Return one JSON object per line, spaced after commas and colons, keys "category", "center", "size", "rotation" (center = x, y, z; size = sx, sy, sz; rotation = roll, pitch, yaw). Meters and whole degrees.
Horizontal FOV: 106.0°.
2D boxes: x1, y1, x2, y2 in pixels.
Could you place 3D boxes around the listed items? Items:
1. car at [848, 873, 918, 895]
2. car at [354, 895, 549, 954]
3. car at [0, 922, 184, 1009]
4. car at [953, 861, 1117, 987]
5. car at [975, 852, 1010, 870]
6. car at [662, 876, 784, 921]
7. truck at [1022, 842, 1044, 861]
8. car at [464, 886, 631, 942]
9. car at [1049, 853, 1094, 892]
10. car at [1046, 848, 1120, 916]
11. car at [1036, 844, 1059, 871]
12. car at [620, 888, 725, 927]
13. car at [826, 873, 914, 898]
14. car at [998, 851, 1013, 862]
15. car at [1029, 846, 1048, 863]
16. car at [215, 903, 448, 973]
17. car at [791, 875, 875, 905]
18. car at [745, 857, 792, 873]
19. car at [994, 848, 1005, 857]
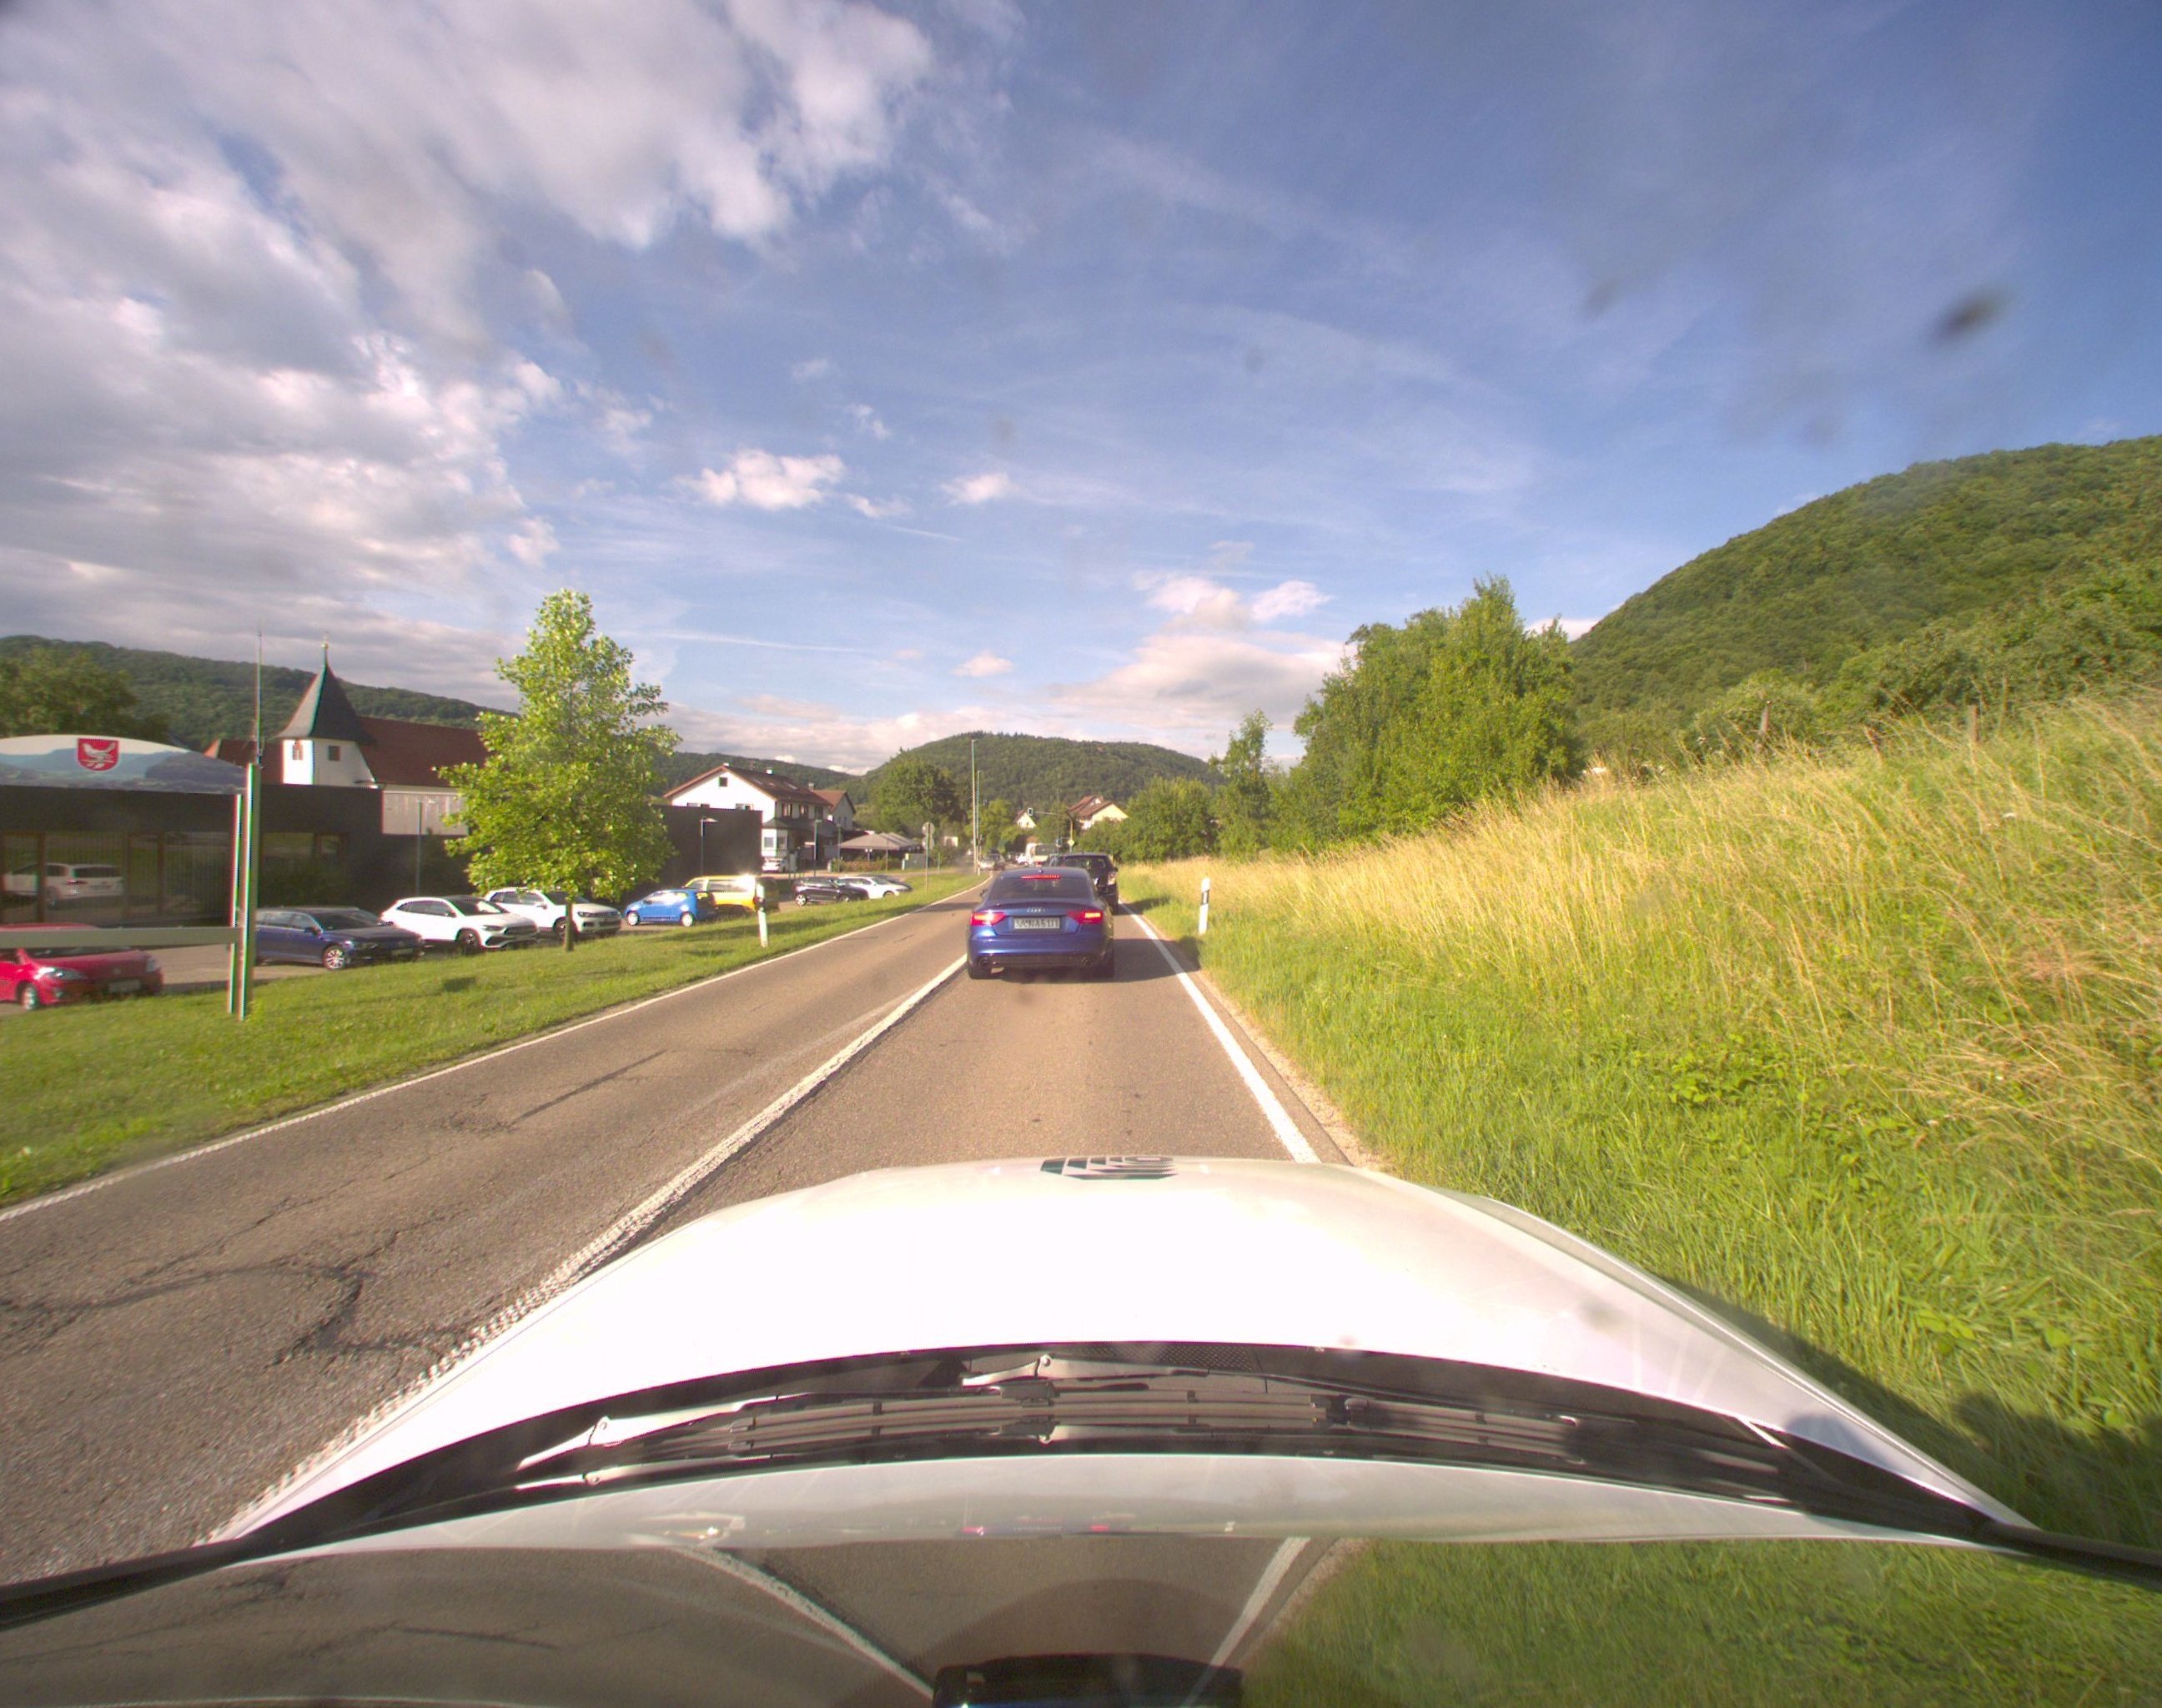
{"category": "car", "center": [-12.699, 1.914, 52.371], "size": [3.966, 1.310, 1.764], "rotation": [0, -1, 6]}
{"category": "car", "center": [-18.420, 2.019, 23.923], "size": [4.510, 1.555, 2.006], "rotation": [0, -1, 10]}
{"category": "car", "center": [-19.685, 2.082, 15.599], "size": [3.697, 1.398, 1.620], "rotation": [0, -1, 10]}
{"category": "car", "center": [-0.435, 0.818, 11.239], "size": [1.788, 1.388, 4.003], "rotation": [-1, -1, 3]}
{"category": "car", "center": [-8.465, 0.678, 78.403], "size": [1.718, 1.662, 3.491], "rotation": [-1, -1, 26]}
{"category": "car", "center": [-15.599, 1.895, 35.528], "size": [4.577, 1.868, 2.007], "rotation": [-1, -1, 14]}
{"category": "truck", "center": [-5.084, -0.212, 85.687], "size": [1.698, 1.953, 5.901], "rotation": [0, -1, -10]}
{"category": "car", "center": [-17.846, 1.974, 27.351], "size": [4.510, 1.703, 2.006], "rotation": [0, -1, 10]}
{"category": "car", "center": [-0.371, 0.822, 37.452], "size": [1.797, 1.639, 4.465], "rotation": [0, -1, 2]}
{"category": "car", "center": [0.145, 0.707, 21.784], "size": [1.739, 1.639, 4.003], "rotation": [0, -1, 3]}
{"category": "car", "center": [-2.820, 0.285, 68.639], "size": [1.743, 2.195, 3.992], "rotation": [0, -1, -5]}
{"category": "car", "center": [-16.513, 2.132, 33.005], "size": [3.473, 1.472, 1.636], "rotation": [0, -1, 8]}
{"category": "car", "center": [-12.870, 1.930, 49.797], "size": [4.783, 1.493, 1.886], "rotation": [0, -1, 10]}
{"category": "car", "center": [-11.263, 0.380, 121.842], "size": [1.700, 1.490, 3.510], "rotation": [0, -1, -14]}
{"category": "car", "center": [-4.229, 0.040, 80.517], "size": [1.743, 1.639, 3.992], "rotation": [0, -1, -5]}
{"category": "car", "center": [-18.998, 2.067, 20.730], "size": [4.510, 1.555, 2.006], "rotation": [0, -1, 10]}
{"category": "car", "center": [-13.815, 1.991, 45.429], "size": [3.999, 1.637, 2.006], "rotation": [0, -1, 10]}
{"category": "car", "center": [-28.841, 1.038, 75.195], "size": [1.749, 1.442, 4.022], "rotation": [-1, -1, 23]}
{"category": "car", "center": [-14.311, -0.302, 143.597], "size": [1.627, 1.576, 3.665], "rotation": [0, -1, -11]}
